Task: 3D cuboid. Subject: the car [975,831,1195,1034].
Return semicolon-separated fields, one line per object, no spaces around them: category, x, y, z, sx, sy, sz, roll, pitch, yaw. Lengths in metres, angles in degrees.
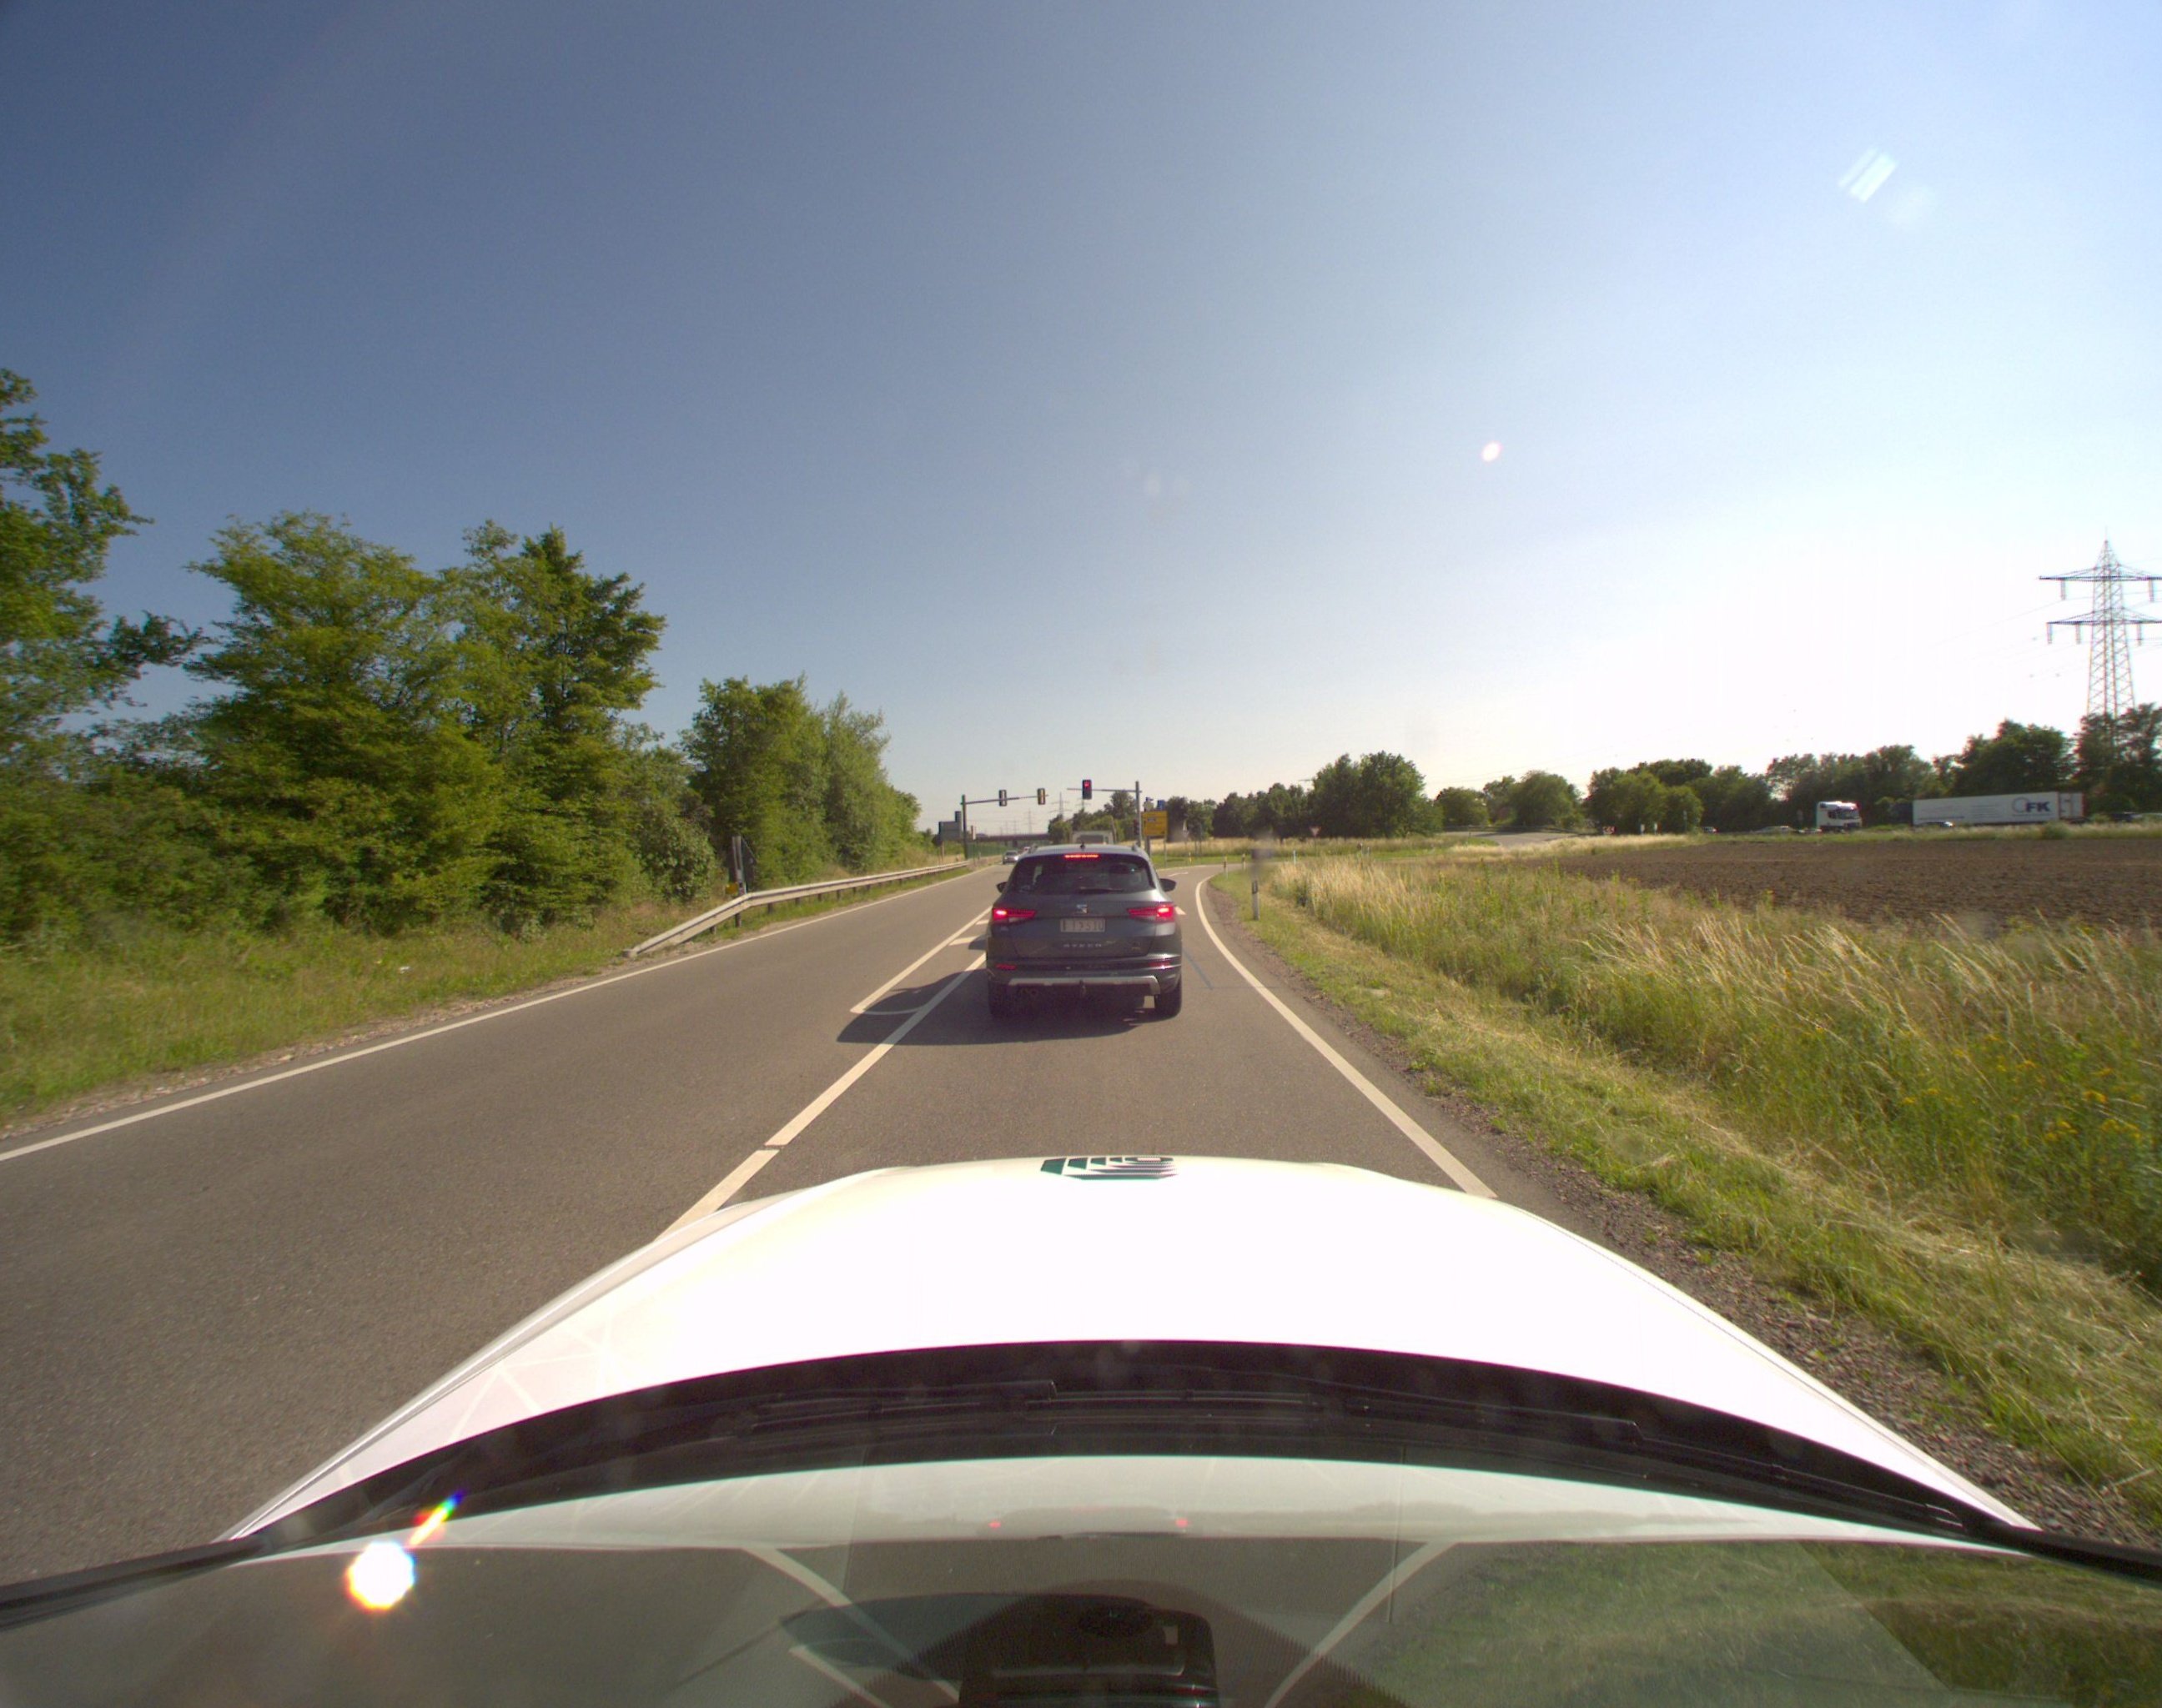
car;0.019;0.627;8.785;1.780;1.629;3.999;-2;1;-1

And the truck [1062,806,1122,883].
truck;0.474;-0.383;35.606;2.329;3.066;5.809;-1;0;1

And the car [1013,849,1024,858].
car;-10.745;-0.072;139.545;1.758;1.431;3.994;-2;1;-4

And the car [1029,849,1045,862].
car;-5.020;0.160;92.676;1.681;1.380;3.529;-1;1;-4

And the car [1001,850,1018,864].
car;-7.754;0.296;88.662;1.821;1.431;3.994;-2;1;-4

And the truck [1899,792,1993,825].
truck;98.977;-5.174;93.378;3.275;3.267;6.975;-3;0;-2

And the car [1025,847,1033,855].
car;-14.359;-0.838;224.414;1.961;1.952;4.987;-2;1;-6

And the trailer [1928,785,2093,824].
trailer;99.120;-5.153;87.412;3.275;3.267;12.449;-3;0;-1

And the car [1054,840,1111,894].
car;0.039;0.391;28.020;1.780;1.675;3.999;-2;1;-1

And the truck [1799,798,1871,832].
truck;79.666;-4.069;86.181;2.507;3.267;5.352;-3;1;-3

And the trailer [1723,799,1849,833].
trailer;79.420;-4.126;92.346;2.507;3.267;13.024;-3;1;-2

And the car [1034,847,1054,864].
car;-3.600;0.105;79.585;1.813;1.540;3.994;-2;1;-4

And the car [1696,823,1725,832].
car;90.513;-3.804;117.152;1.391;1.151;3.578;-1;1;-3

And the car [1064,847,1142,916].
car;0.487;0.627;21.003;1.780;1.543;3.999;-2;1;-1
